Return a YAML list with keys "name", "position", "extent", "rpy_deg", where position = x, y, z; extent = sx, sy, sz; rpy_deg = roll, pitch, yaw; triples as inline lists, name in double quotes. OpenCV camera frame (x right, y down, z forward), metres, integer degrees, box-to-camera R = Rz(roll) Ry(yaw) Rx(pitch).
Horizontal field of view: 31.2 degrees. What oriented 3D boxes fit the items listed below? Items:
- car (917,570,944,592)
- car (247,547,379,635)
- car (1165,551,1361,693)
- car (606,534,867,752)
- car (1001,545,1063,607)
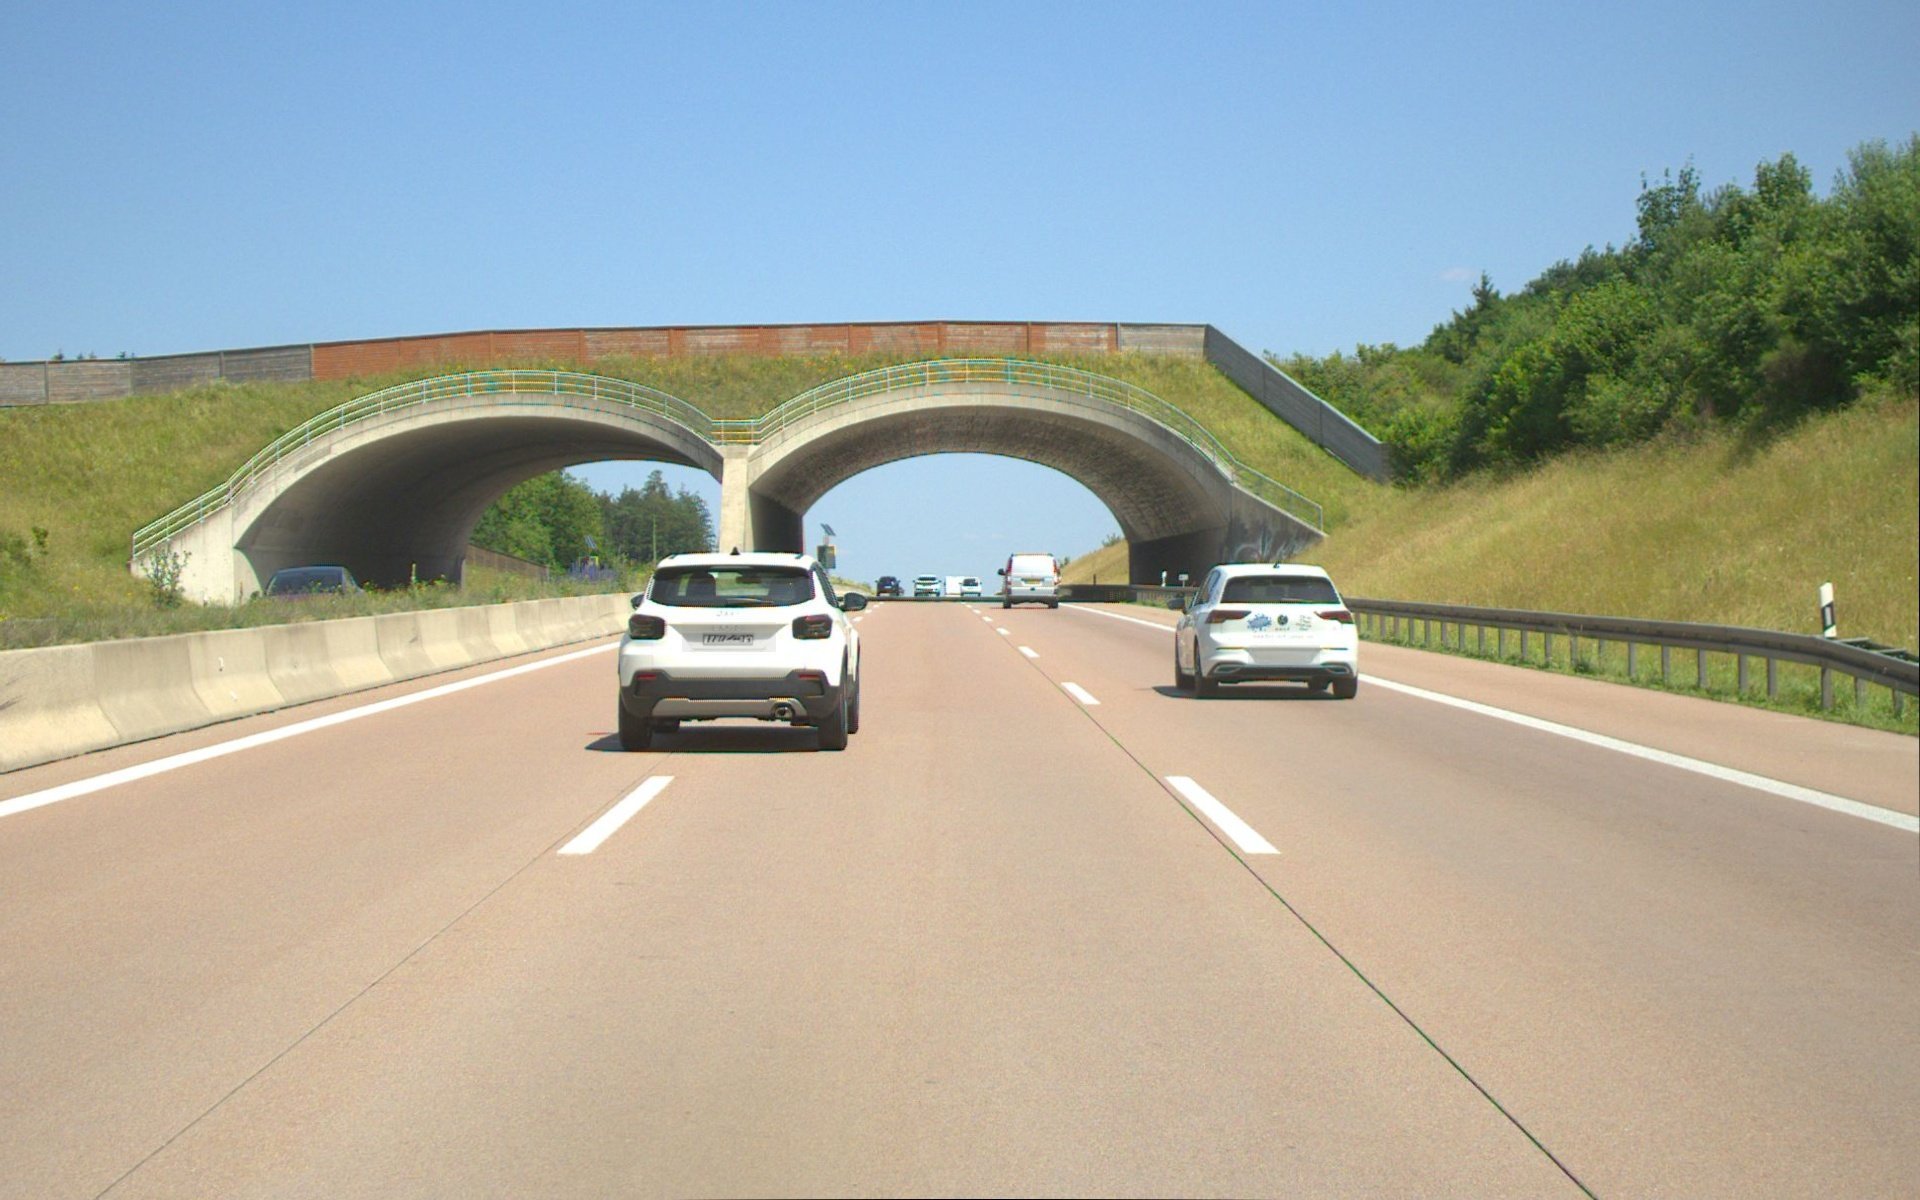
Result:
- name: "car"
  position: [-2.112, -1.395, 245.515]
  extent: [1.891, 1.458, 4.000]
  rpy_deg: [1, 1, 0]
- name: "car"
  position: [-13.002, -0.206, 69.320]
  extent: [1.890, 1.588, 4.979]
  rpy_deg: [1, 2, -2]
- name: "car"
  position: [3.303, 0.204, 38.126]
  extent: [1.891, 1.393, 4.000]
  rpy_deg: [1, 2, 1]
- name: "car"
  position: [-1.740, 0.276, 28.186]
  extent: [1.879, 1.602, 4.834]
  rpy_deg: [0, 1, -1]
- name: "car"
  position: [2.532, -0.866, 120.478]
  extent: [2.110, 2.046, 4.000]
  rpy_deg: [0, 2, 1]
